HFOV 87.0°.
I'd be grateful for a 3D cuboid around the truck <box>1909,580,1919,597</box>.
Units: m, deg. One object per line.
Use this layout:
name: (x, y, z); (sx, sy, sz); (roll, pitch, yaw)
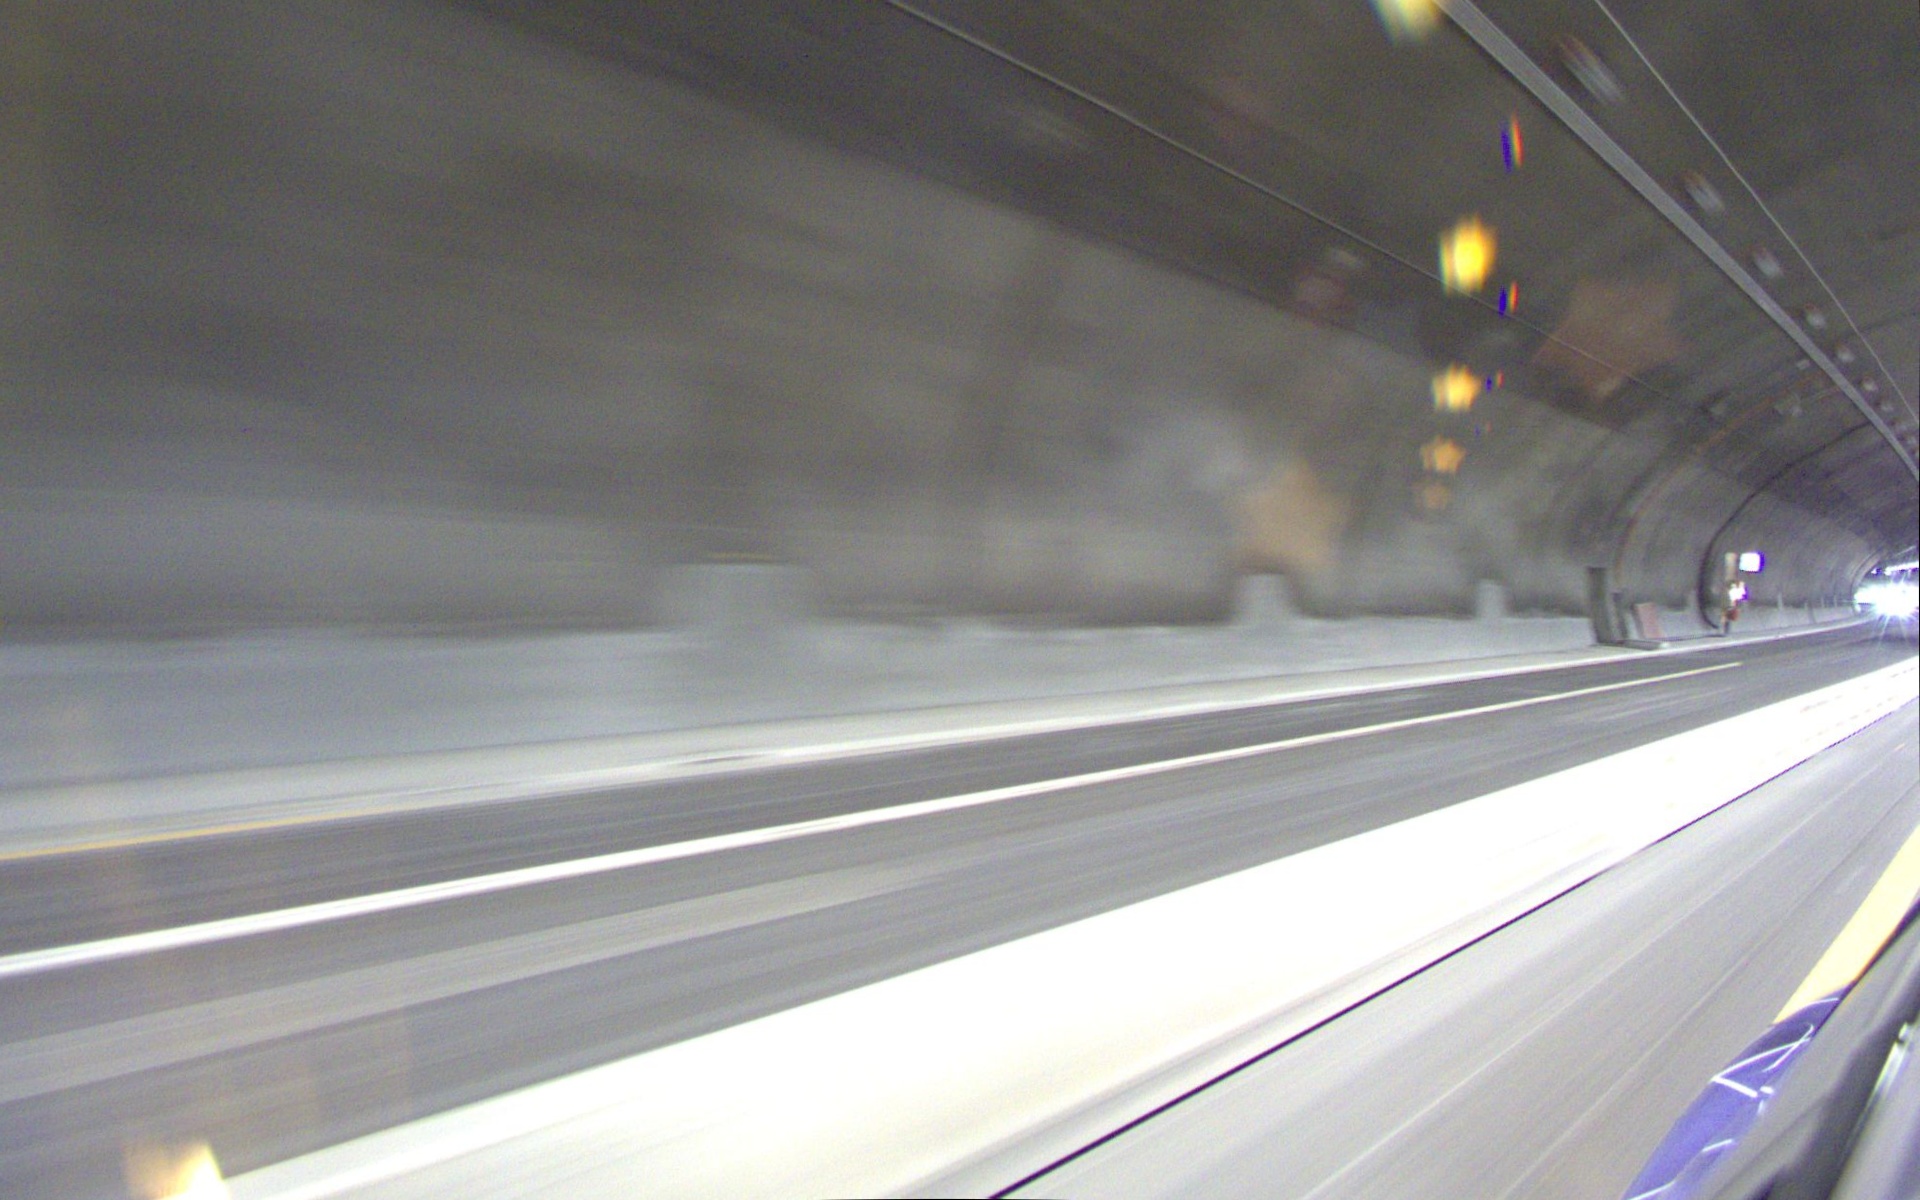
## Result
truck: (161.947, -1.889, 170.539); (2.600, 2.774, 6.305); (0, 0, 40)
